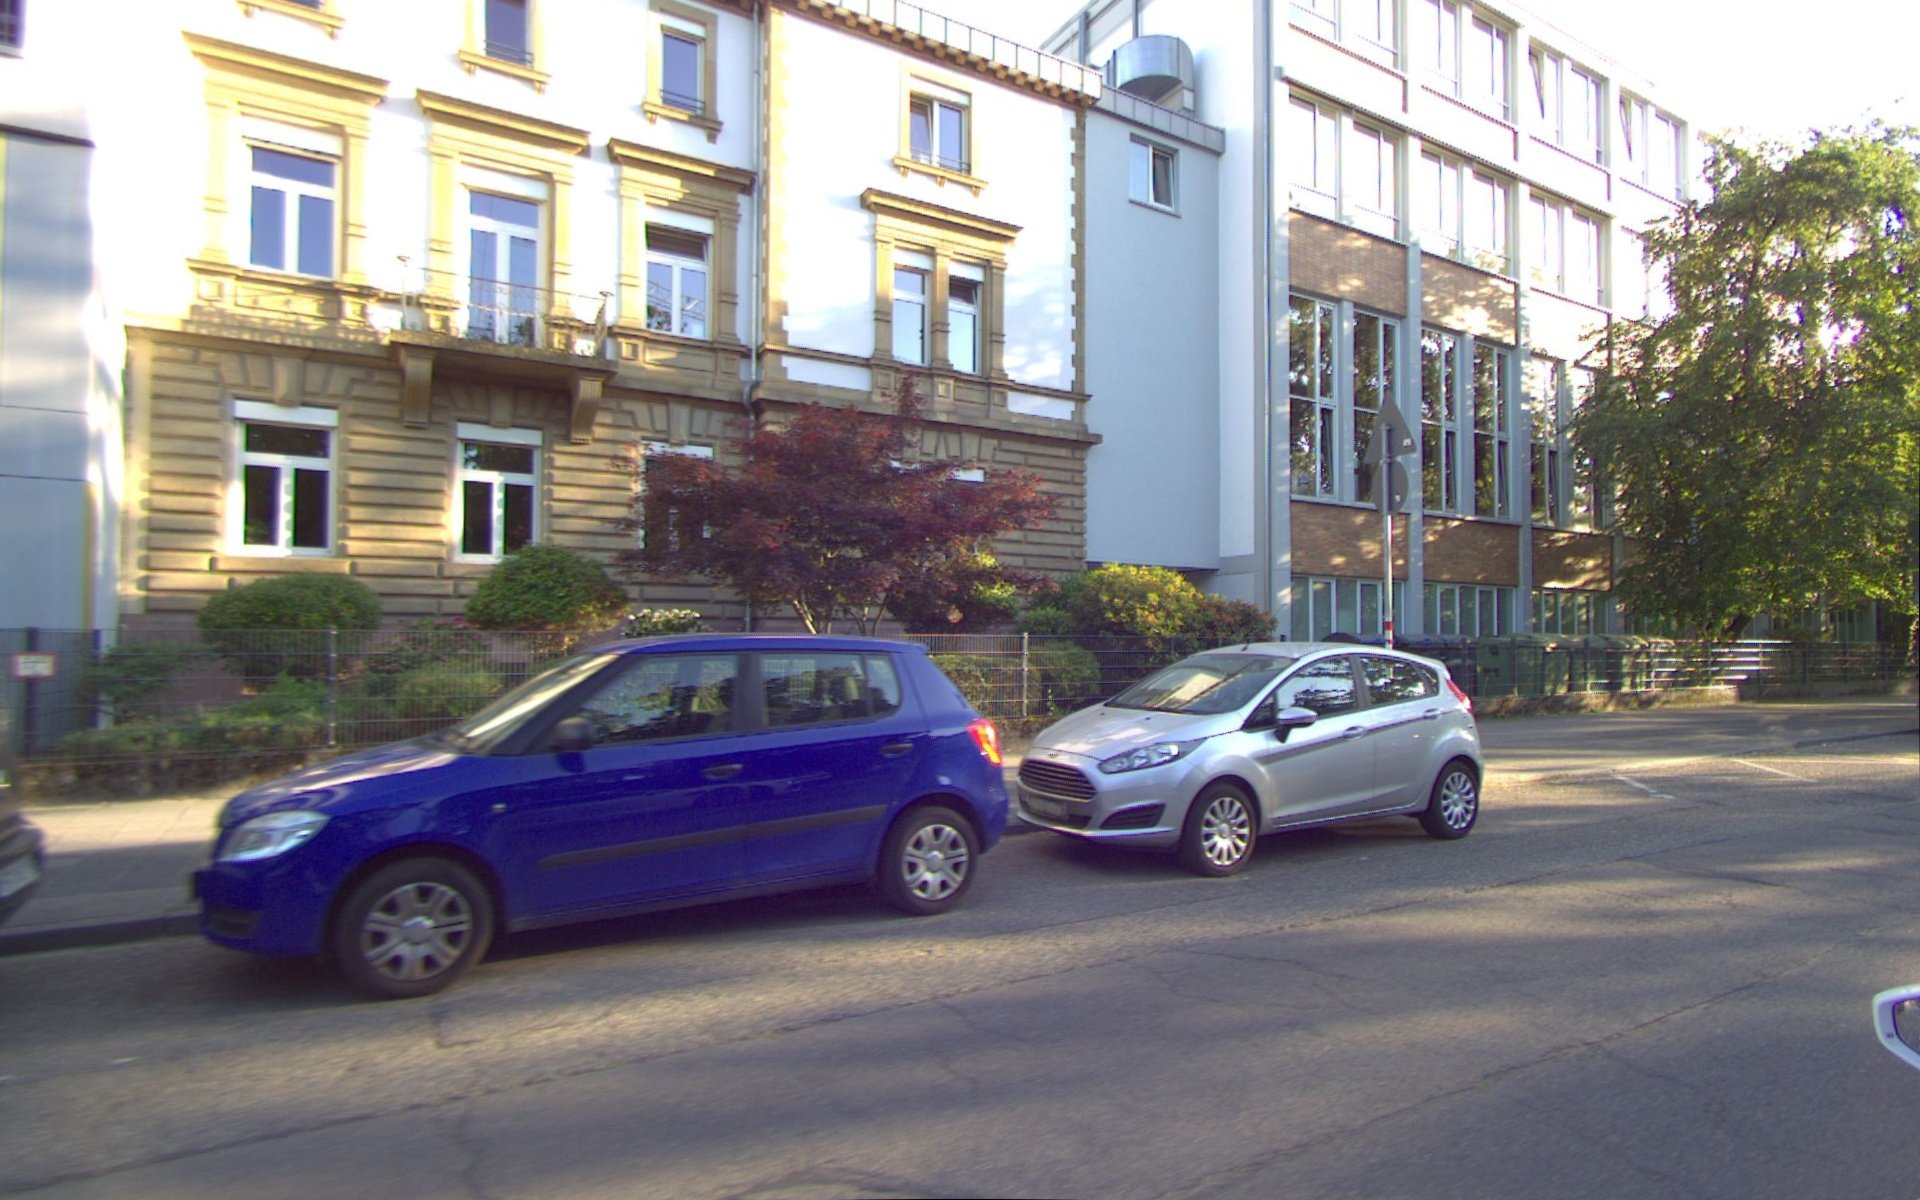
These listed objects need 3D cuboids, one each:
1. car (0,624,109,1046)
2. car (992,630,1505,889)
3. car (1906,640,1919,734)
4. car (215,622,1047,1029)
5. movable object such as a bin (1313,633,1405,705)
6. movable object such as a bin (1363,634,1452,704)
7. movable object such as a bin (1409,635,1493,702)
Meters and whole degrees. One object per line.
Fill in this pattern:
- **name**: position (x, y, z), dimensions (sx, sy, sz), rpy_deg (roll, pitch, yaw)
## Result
- **car**: position (-5.397, 0.825, 3.061), dimensions (4.008, 1.474, 1.591), rpy_deg (1, -3, -31)
- **car**: position (2.236, 1.008, 7.563), dimensions (3.729, 1.513, 1.593), rpy_deg (1, -3, -31)
- **car**: position (17.537, 1.432, 16.632), dimensions (4.013, 1.513, 1.663), rpy_deg (1, -2, -30)
- **car**: position (-1.536, 0.916, 5.408), dimensions (3.740, 1.527, 1.592), rpy_deg (1, -3, -29)
- **movable object such as a bin**: position (8.352, 1.414, 21.037), dimensions (1.499, 1.449, 1.095), rpy_deg (1, -2, -27)
- **movable object such as a bin**: position (9.678, 1.459, 21.726), dimensions (1.467, 1.449, 1.095), rpy_deg (1, -2, -27)
- **movable object such as a bin**: position (10.945, 1.502, 22.396), dimensions (1.354, 1.449, 1.095), rpy_deg (1, -2, -27)
